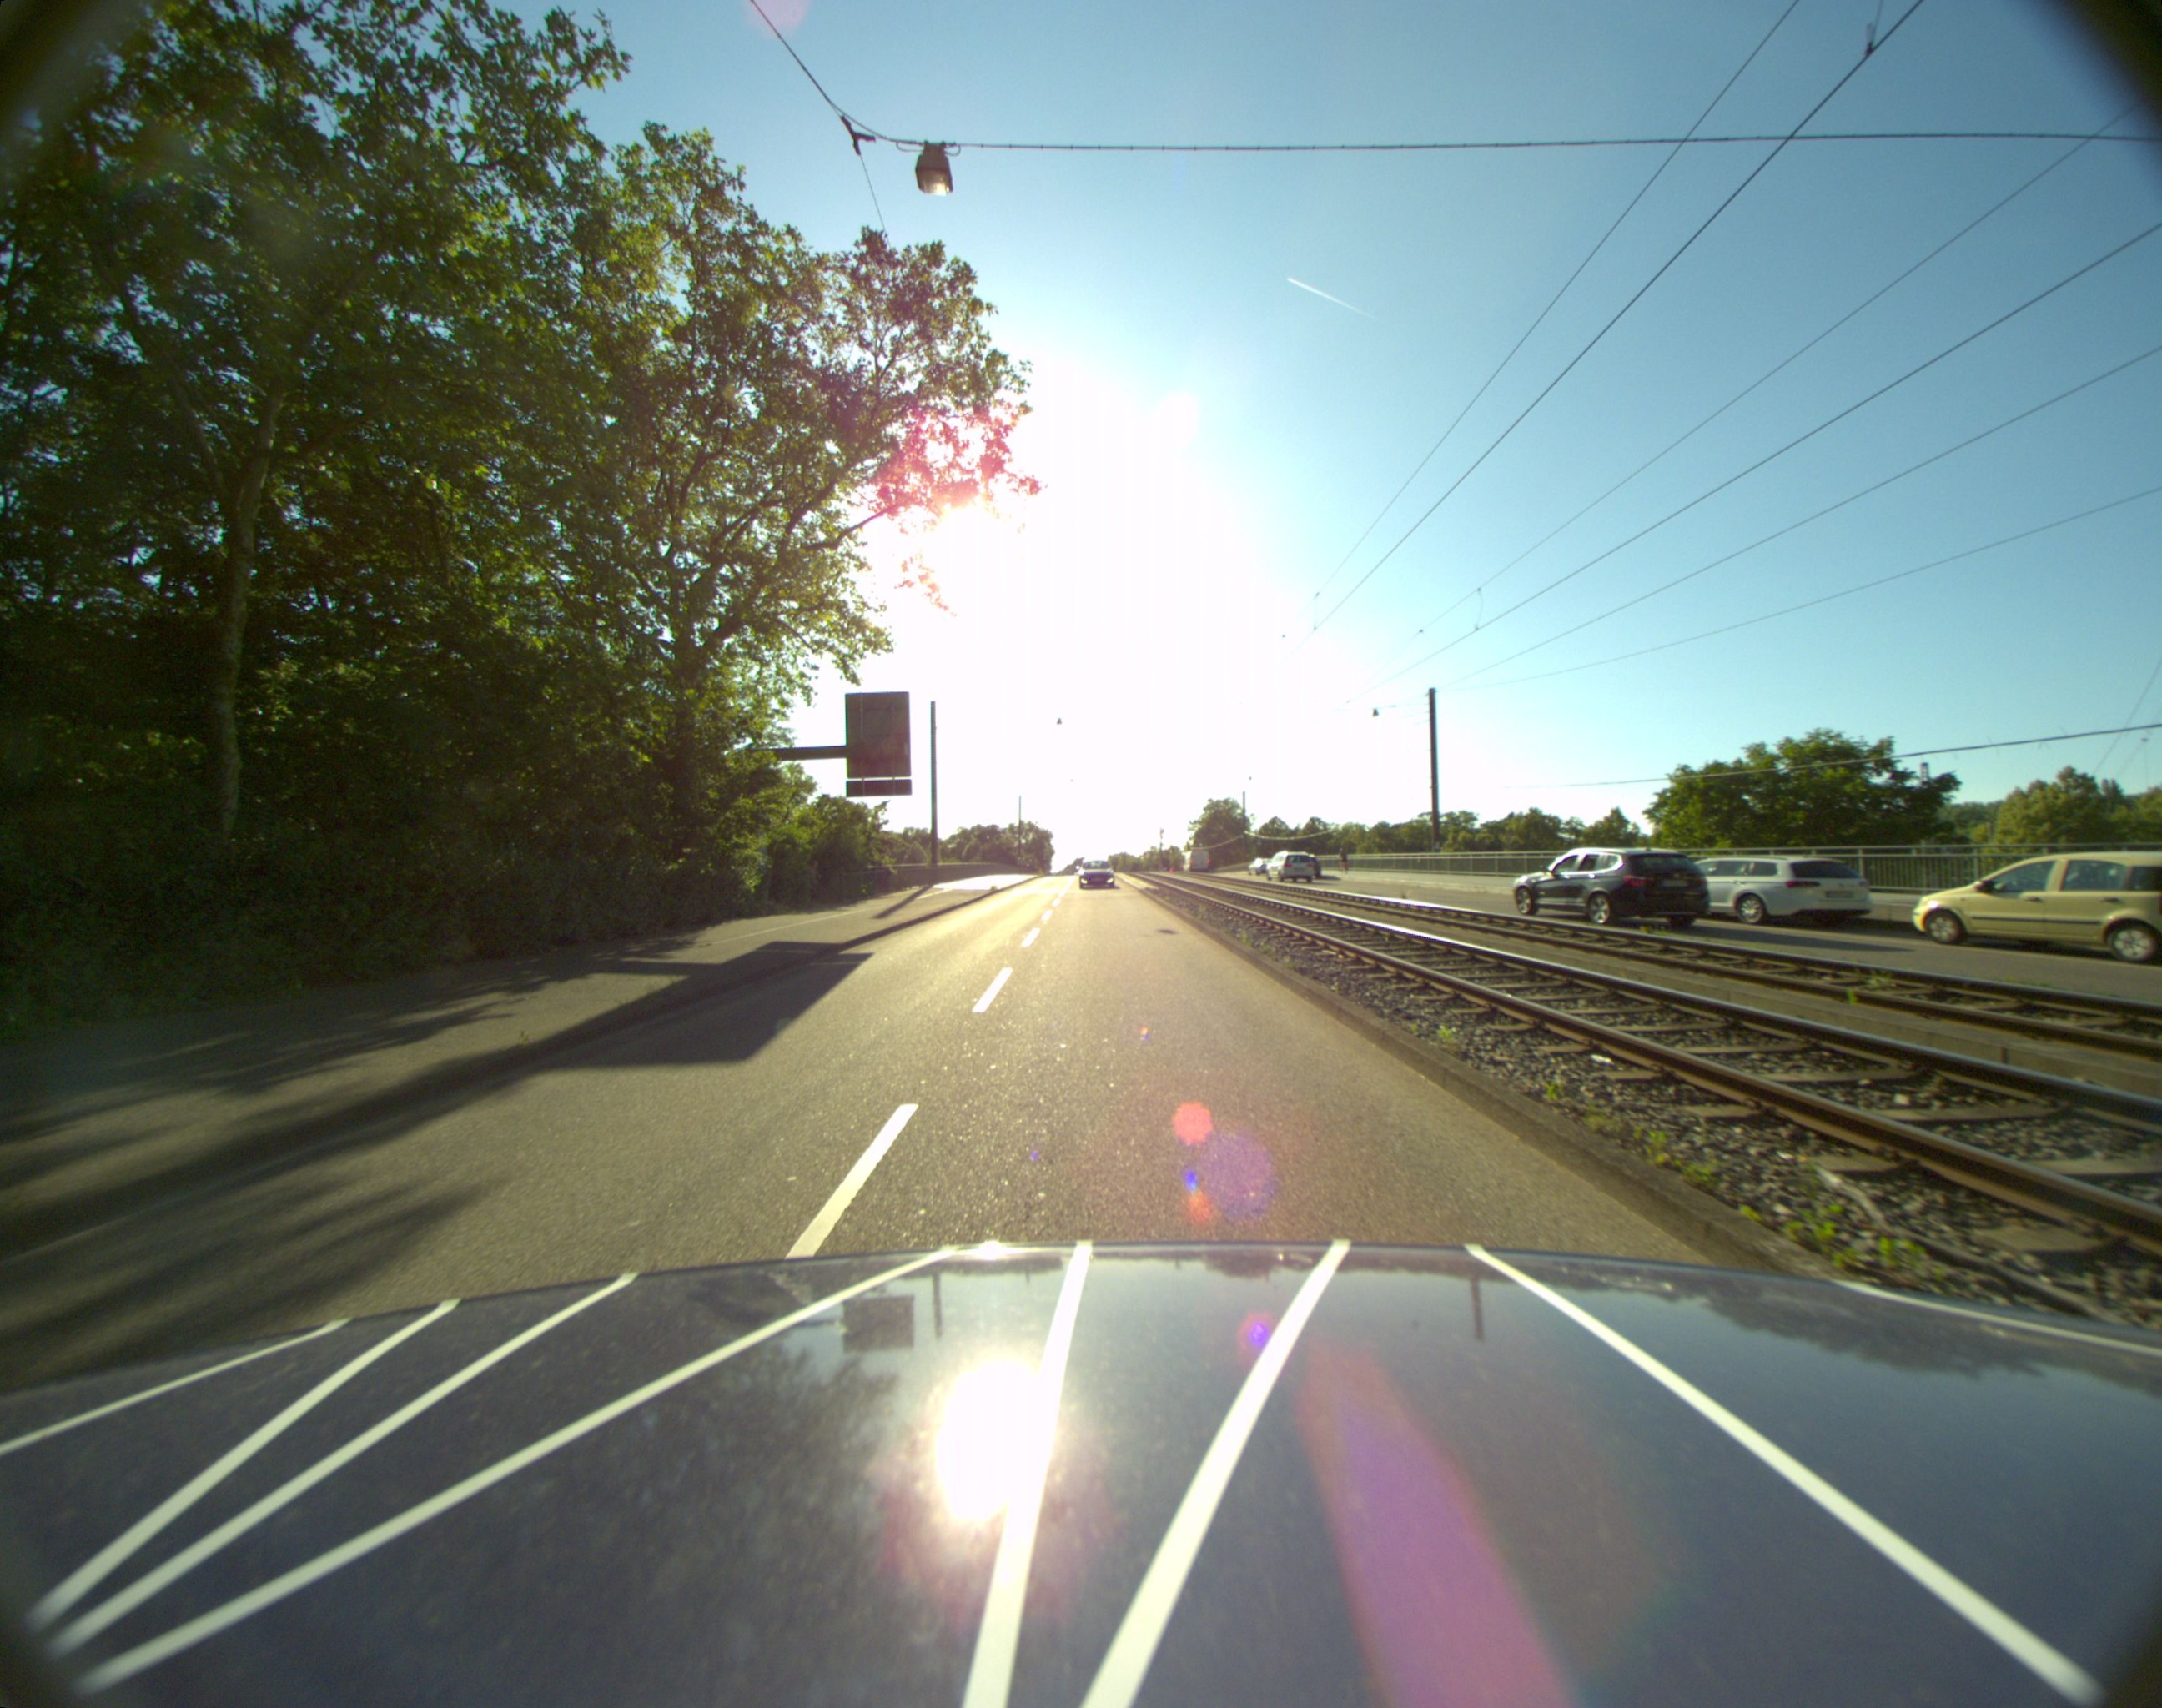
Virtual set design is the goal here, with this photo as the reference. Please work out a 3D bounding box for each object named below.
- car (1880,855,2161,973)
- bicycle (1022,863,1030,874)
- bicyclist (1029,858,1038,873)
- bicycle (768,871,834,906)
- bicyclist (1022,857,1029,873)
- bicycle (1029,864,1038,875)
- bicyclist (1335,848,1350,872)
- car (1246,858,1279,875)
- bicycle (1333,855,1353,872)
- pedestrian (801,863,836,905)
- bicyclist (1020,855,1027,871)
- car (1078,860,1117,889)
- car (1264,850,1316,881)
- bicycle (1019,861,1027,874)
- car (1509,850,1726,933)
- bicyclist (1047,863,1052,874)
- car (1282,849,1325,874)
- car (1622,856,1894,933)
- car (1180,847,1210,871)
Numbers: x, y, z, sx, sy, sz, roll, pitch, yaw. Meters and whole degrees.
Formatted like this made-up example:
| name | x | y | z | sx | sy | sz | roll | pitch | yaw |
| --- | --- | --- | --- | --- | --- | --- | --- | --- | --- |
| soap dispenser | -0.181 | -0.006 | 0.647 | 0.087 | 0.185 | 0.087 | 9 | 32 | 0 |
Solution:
| name | x | y | z | sx | sy | sz | roll | pitch | yaw |
| --- | --- | --- | --- | --- | --- | --- | --- | --- | --- |
| car | 14.987 | 0.802 | 11.575 | 1.637 | 1.522 | 3.790 | -1 | 0 | 1 |
| bicycle | -5.557 | 1.501 | 77.206 | 0.626 | 1.115 | 2.042 | -2 | -2 | 0 |
| bicyclist | -5.127 | 1.228 | 82.049 | 0.814 | 1.552 | 0.897 | -2 | -3 | 0 |
| bicycle | -9.377 | 1.156 | 25.480 | 2.038 | 1.116 | 0.628 | -1 | 0 | 13 |
| bicyclist | -5.606 | 1.103 | 77.197 | 0.626 | 1.583 | 0.931 | -2 | -1 | 0 |
| bicycle | -5.123 | 1.701 | 82.011 | 0.685 | 1.115 | 2.217 | -2 | -3 | 0 |
| bicyclist | 18.524 | 0.442 | 53.823 | 0.681 | 1.617 | 0.890 | -3 | 0 | 1 |
| car | 15.566 | 1.043 | 65.312 | 1.688 | 1.348 | 4.920 | 1 | 0 | 1 |
| bicycle | 18.565 | 0.667 | 53.966 | 0.681 | 1.091 | 2.100 | -3 | 0 | 1 |
| pedestrian | -8.915 | 1.010 | 25.814 | 0.812 | 1.387 | 0.807 | -1 | 0 | 14 |
| bicyclist | -5.523 | 0.841 | 72.773 | 0.627 | 1.499 | 1.006 | -2 | -2 | -1 |
| car | 0.762 | 1.045 | 37.621 | 1.802 | 1.344 | 4.001 | -1 | -2 | 0 |
| car | 12.352 | 0.658 | 45.236 | 1.877 | 1.655 | 4.597 | 2 | 0 | 2 |
| bicycle | -5.520 | 1.292 | 72.799 | 0.627 | 1.115 | 2.260 | -2 | -2 | -1 |
| car | 11.776 | 0.758 | 17.116 | 1.746 | 1.614 | 4.394 | 0 | -1 | 0 |
| bicyclist | -5.115 | 2.413 | 123.964 | 0.733 | 1.679 | 1.202 | -4 | -2 | -3 |
| car | 15.639 | 0.530 | 53.684 | 1.784 | 1.640 | 4.447 | 1 | -1 | 1 |
| car | 15.033 | 0.823 | 17.365 | 1.746 | 1.455 | 4.956 | -2 | -1 | 0 |
| car | 12.215 | 0.554 | 81.778 | 2.092 | 2.577 | 6.040 | 0 | -1 | -2 |
